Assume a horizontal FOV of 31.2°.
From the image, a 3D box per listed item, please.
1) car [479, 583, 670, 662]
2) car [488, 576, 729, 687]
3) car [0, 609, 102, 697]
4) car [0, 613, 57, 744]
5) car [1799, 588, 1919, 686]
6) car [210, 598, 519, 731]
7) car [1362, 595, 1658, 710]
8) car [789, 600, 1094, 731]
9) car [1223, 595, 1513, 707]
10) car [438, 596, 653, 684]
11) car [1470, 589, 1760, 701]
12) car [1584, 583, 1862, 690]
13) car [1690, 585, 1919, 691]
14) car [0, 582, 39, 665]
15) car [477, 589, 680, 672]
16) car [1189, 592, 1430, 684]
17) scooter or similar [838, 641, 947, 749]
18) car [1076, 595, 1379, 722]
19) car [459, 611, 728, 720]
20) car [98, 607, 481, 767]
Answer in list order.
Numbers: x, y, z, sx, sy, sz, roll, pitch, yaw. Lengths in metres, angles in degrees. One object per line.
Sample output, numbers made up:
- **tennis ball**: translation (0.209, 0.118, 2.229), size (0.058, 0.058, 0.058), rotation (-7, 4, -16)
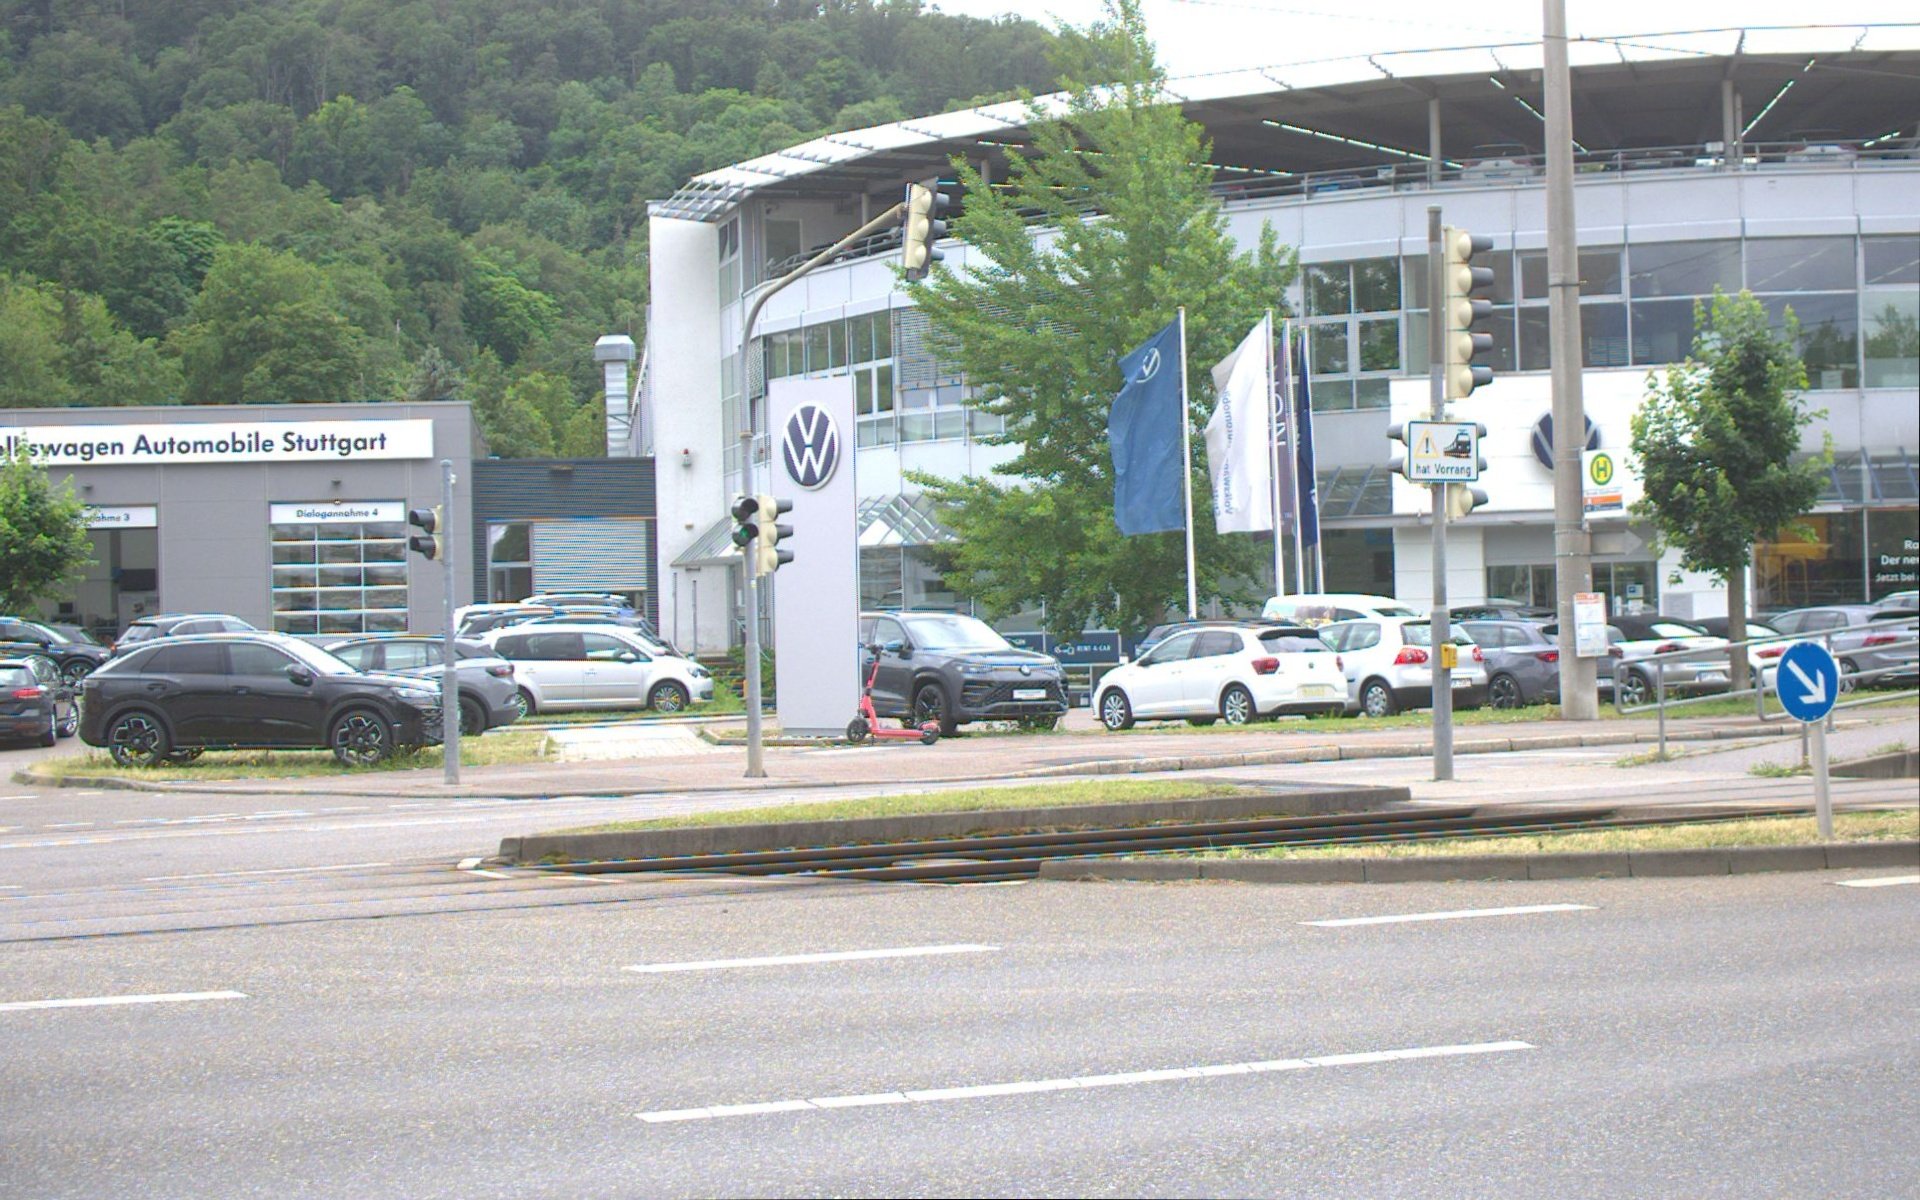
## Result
- **car**: translation (-9.555, 0.571, 85.096), size (4.494, 1.723, 2.000), rotation (2, -3, -11)
- **car**: translation (-6.954, 0.643, 67.840), size (4.494, 1.990, 2.000), rotation (2, -3, -11)
- **car**: translation (-20.606, 1.111, 73.834), size (3.986, 1.788, 1.853), rotation (2, -3, -8)
- **car**: translation (-16.013, 1.355, 56.778), size (1.993, 2.007, 5.018), rotation (-2, -2, -14)
- **car**: translation (15.818, 0.583, 55.611), size (1.921, 1.549, 3.999), rotation (-2, 0, -38)
- **car**: translation (-8.470, 0.946, 48.809), size (3.985, 1.700, 2.000), rotation (3, -3, -19)
- **car**: translation (7.974, 0.785, 50.096), size (1.921, 1.549, 3.999), rotation (4, -3, -37)
- **car**: translation (-0.289, 0.861, 45.229), size (1.994, 1.634, 3.999), rotation (0, -1, -38)
- **car**: translation (5.775, 0.751, 49.031), size (1.809, 1.472, 3.999), rotation (4, -3, -37)
- **car**: translation (-9.115, 0.891, 75.489), size (4.494, 1.723, 2.000), rotation (2, -3, -11)
- **car**: translation (9.814, 0.701, 51.724), size (1.921, 1.549, 3.999), rotation (4, -3, -37)
- **car**: translation (11.791, 0.590, 53.317), size (1.723, 1.549, 3.999), rotation (4, -3, -37)
- **car**: translation (13.747, 0.625, 54.368), size (1.921, 1.549, 3.999), rotation (4, -3, -37)
- **car**: translation (-22.853, 0.470, 77.082), size (3.986, 1.788, 1.853), rotation (2, -3, -8)
- **car**: translation (-8.889, 0.729, 79.950), size (4.494, 1.723, 2.000), rotation (2, -3, -11)
- **car**: translation (6.315, 0.697, 62.380), size (3.997, 1.549, 1.922), rotation (-1, -4, 44)
- **scooter or similar**: translation (-0.831, 1.171, 42.407), size (1.200, 1.284, 0.575), rotation (2, -3, -15)
- **car**: translation (3.680, 0.833, 47.832), size (1.994, 1.634, 3.999), rotation (4, -3, -37)
- **car**: translation (-6.484, 1.175, 60.657), size (4.494, 1.723, 2.000), rotation (2, -3, -11)
- **car**: translation (-7.784, 0.992, 40.153), size (3.987, 1.634, 2.000), rotation (2, 2, 3)
